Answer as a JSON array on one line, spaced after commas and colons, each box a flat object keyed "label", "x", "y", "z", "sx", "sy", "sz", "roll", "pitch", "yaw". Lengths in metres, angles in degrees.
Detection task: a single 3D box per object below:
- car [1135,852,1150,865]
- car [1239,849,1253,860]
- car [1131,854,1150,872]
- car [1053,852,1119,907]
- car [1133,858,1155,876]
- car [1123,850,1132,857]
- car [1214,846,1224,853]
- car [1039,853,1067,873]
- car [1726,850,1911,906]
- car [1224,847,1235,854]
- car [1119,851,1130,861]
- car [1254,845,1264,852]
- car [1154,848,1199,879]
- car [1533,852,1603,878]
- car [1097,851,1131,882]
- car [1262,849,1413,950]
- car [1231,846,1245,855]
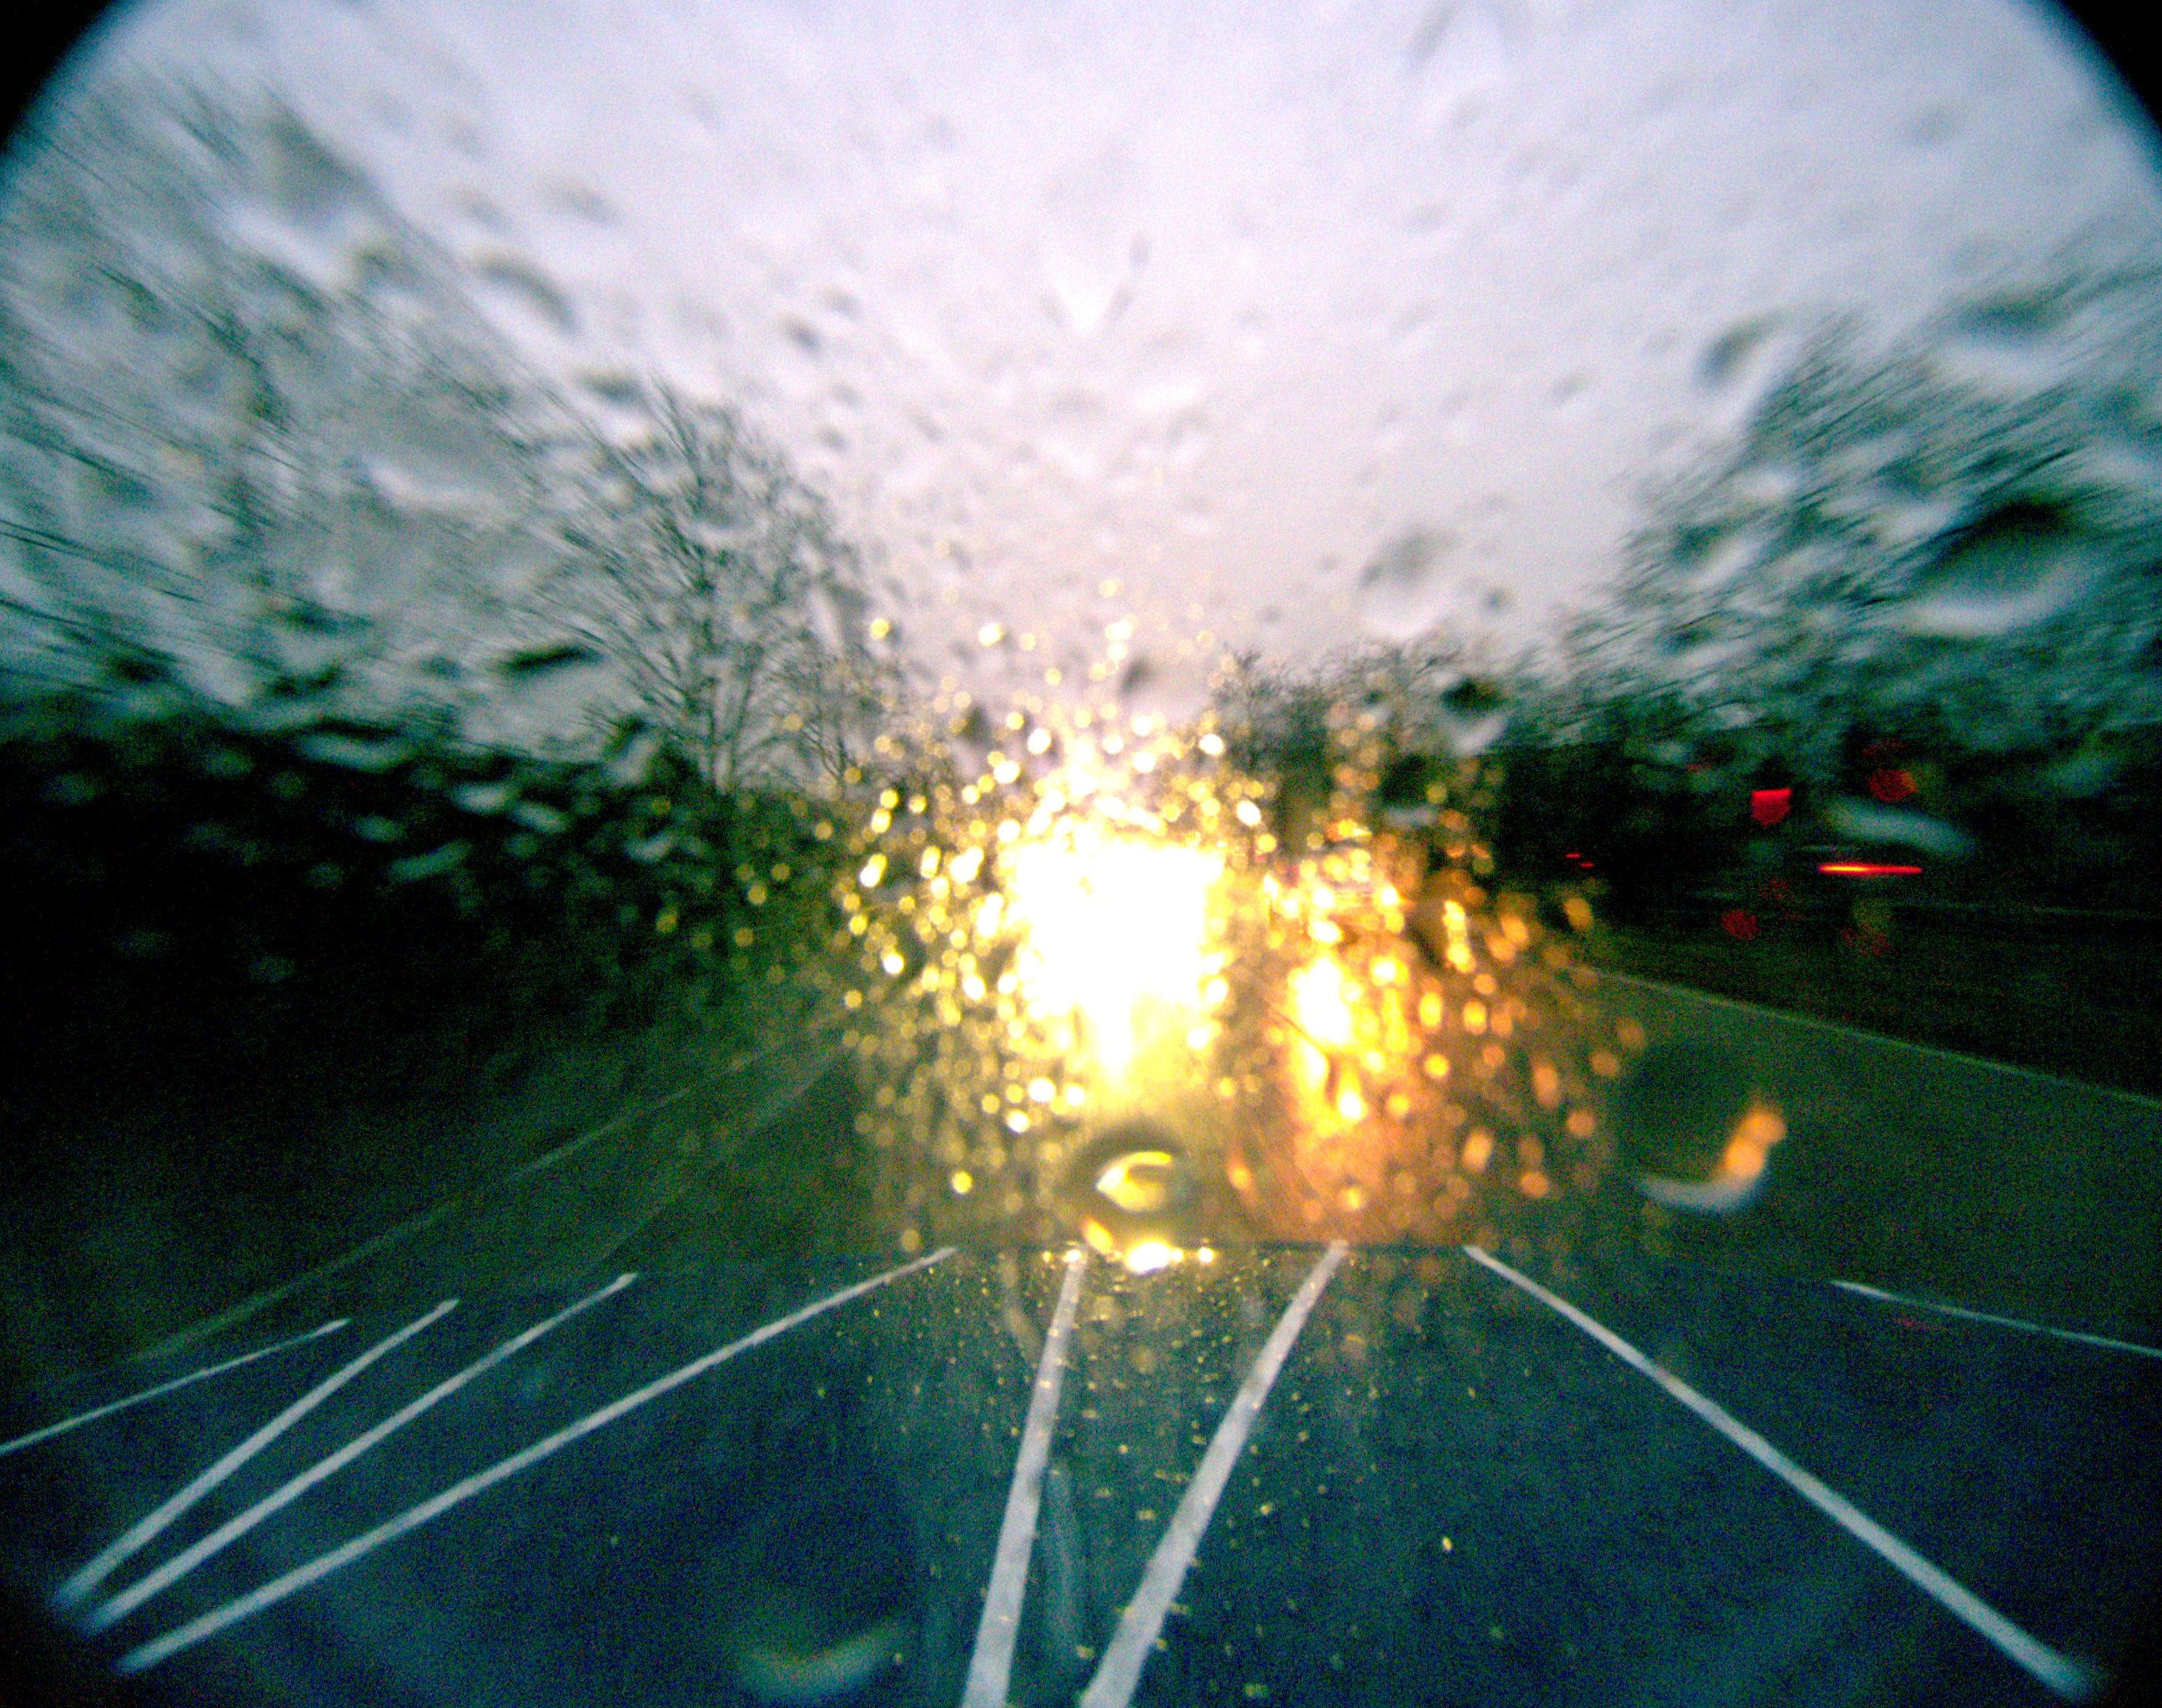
[{"label": "car", "x": 8.358, "y": 0.585, "z": 103.686, "sx": 1.852, "sy": 1.610, "sz": 3.951, "roll": -2, "pitch": 1, "yaw": 3}, {"label": "car", "x": 26.431, "y": 0.050, "z": 122.051, "sx": 1.621, "sy": 1.672, "sz": 3.982, "roll": 0, "pitch": 1, "yaw": 4}, {"label": "car", "x": 6.078, "y": 0.902, "z": 77.989, "sx": 1.852, "sy": 1.610, "sz": 3.951, "roll": -2, "pitch": 1, "yaw": 3}, {"label": "car", "x": 0.253, "y": 0.719, "z": 23.867, "sx": 1.830, "sy": 1.524, "sz": 4.000, "roll": 0, "pitch": 1, "yaw": 4}, {"label": "car", "x": 5.116, "y": 1.022, "z": 62.200, "sx": 1.696, "sy": 1.327, "sz": 4.000, "roll": -2, "pitch": 1, "yaw": 3}, {"label": "car", "x": 10.670, "y": -0.096, "z": 174.723, "sx": 1.998, "sy": 1.605, "sz": 4.000, "roll": -1, "pitch": 1, "yaw": 3}, {"label": "car", "x": 30.328, "y": -1.039, "z": 167.315, "sx": 1.652, "sy": 1.491, "sz": 3.957, "roll": 0, "pitch": 1, "yaw": 4}, {"label": "car", "x": -2.049, "y": 0.649, "z": 57.246, "sx": 1.728, "sy": 1.426, "sz": 3.791, "roll": 0, "pitch": 1, "yaw": 4}, {"label": "car", "x": 23.424, "y": 0.700, "z": 24.432, "sx": 1.652, "sy": 1.557, "sz": 4.598, "roll": 0, "pitch": 1, "yaw": 4}, {"label": "car", "x": 29.776, "y": -0.732, "z": 152.672, "sx": 1.652, "sy": 1.346, "sz": 3.957, "roll": 0, "pitch": 1, "yaw": 4}, {"label": "car", "x": 7.597, "y": 0.362, "z": 132.353, "sx": 1.852, "sy": 1.610, "sz": 3.951, "roll": -2, "pitch": 1, "yaw": 3}, {"label": "car", "x": 37.044, "y": -1.150, "z": 158.112, "sx": 1.751, "sy": 1.387, "sz": 4.302, "roll": 0, "pitch": 1, "yaw": 9}, {"label": "car", "x": 5.087, "y": 0.456, "z": 41.049, "sx": 2.026, "sy": 1.522, "sz": 4.145, "roll": 0, "pitch": 1, "yaw": 2}, {"label": "car", "x": 27.639, "y": 0.592, "z": 43.287, "sx": 1.652, "sy": 1.346, "sz": 3.957, "roll": 0, "pitch": 1, "yaw": 4}, {"label": "car", "x": 1.871, "y": 0.649, "z": 42.442, "sx": 1.727, "sy": 1.573, "sz": 3.791, "roll": 0, "pitch": 1, "yaw": 5}, {"label": "car", "x": 4.659, "y": 0.732, "z": 14.421, "sx": 1.765, "sy": 1.590, "sz": 4.166, "roll": 0, "pitch": 1, "yaw": 5}, {"label": "car", "x": 28.441, "y": -0.587, "z": 137.794, "sx": 1.787, "sy": 1.524, "sz": 4.378, "roll": 0, "pitch": 1, "yaw": 4}]
